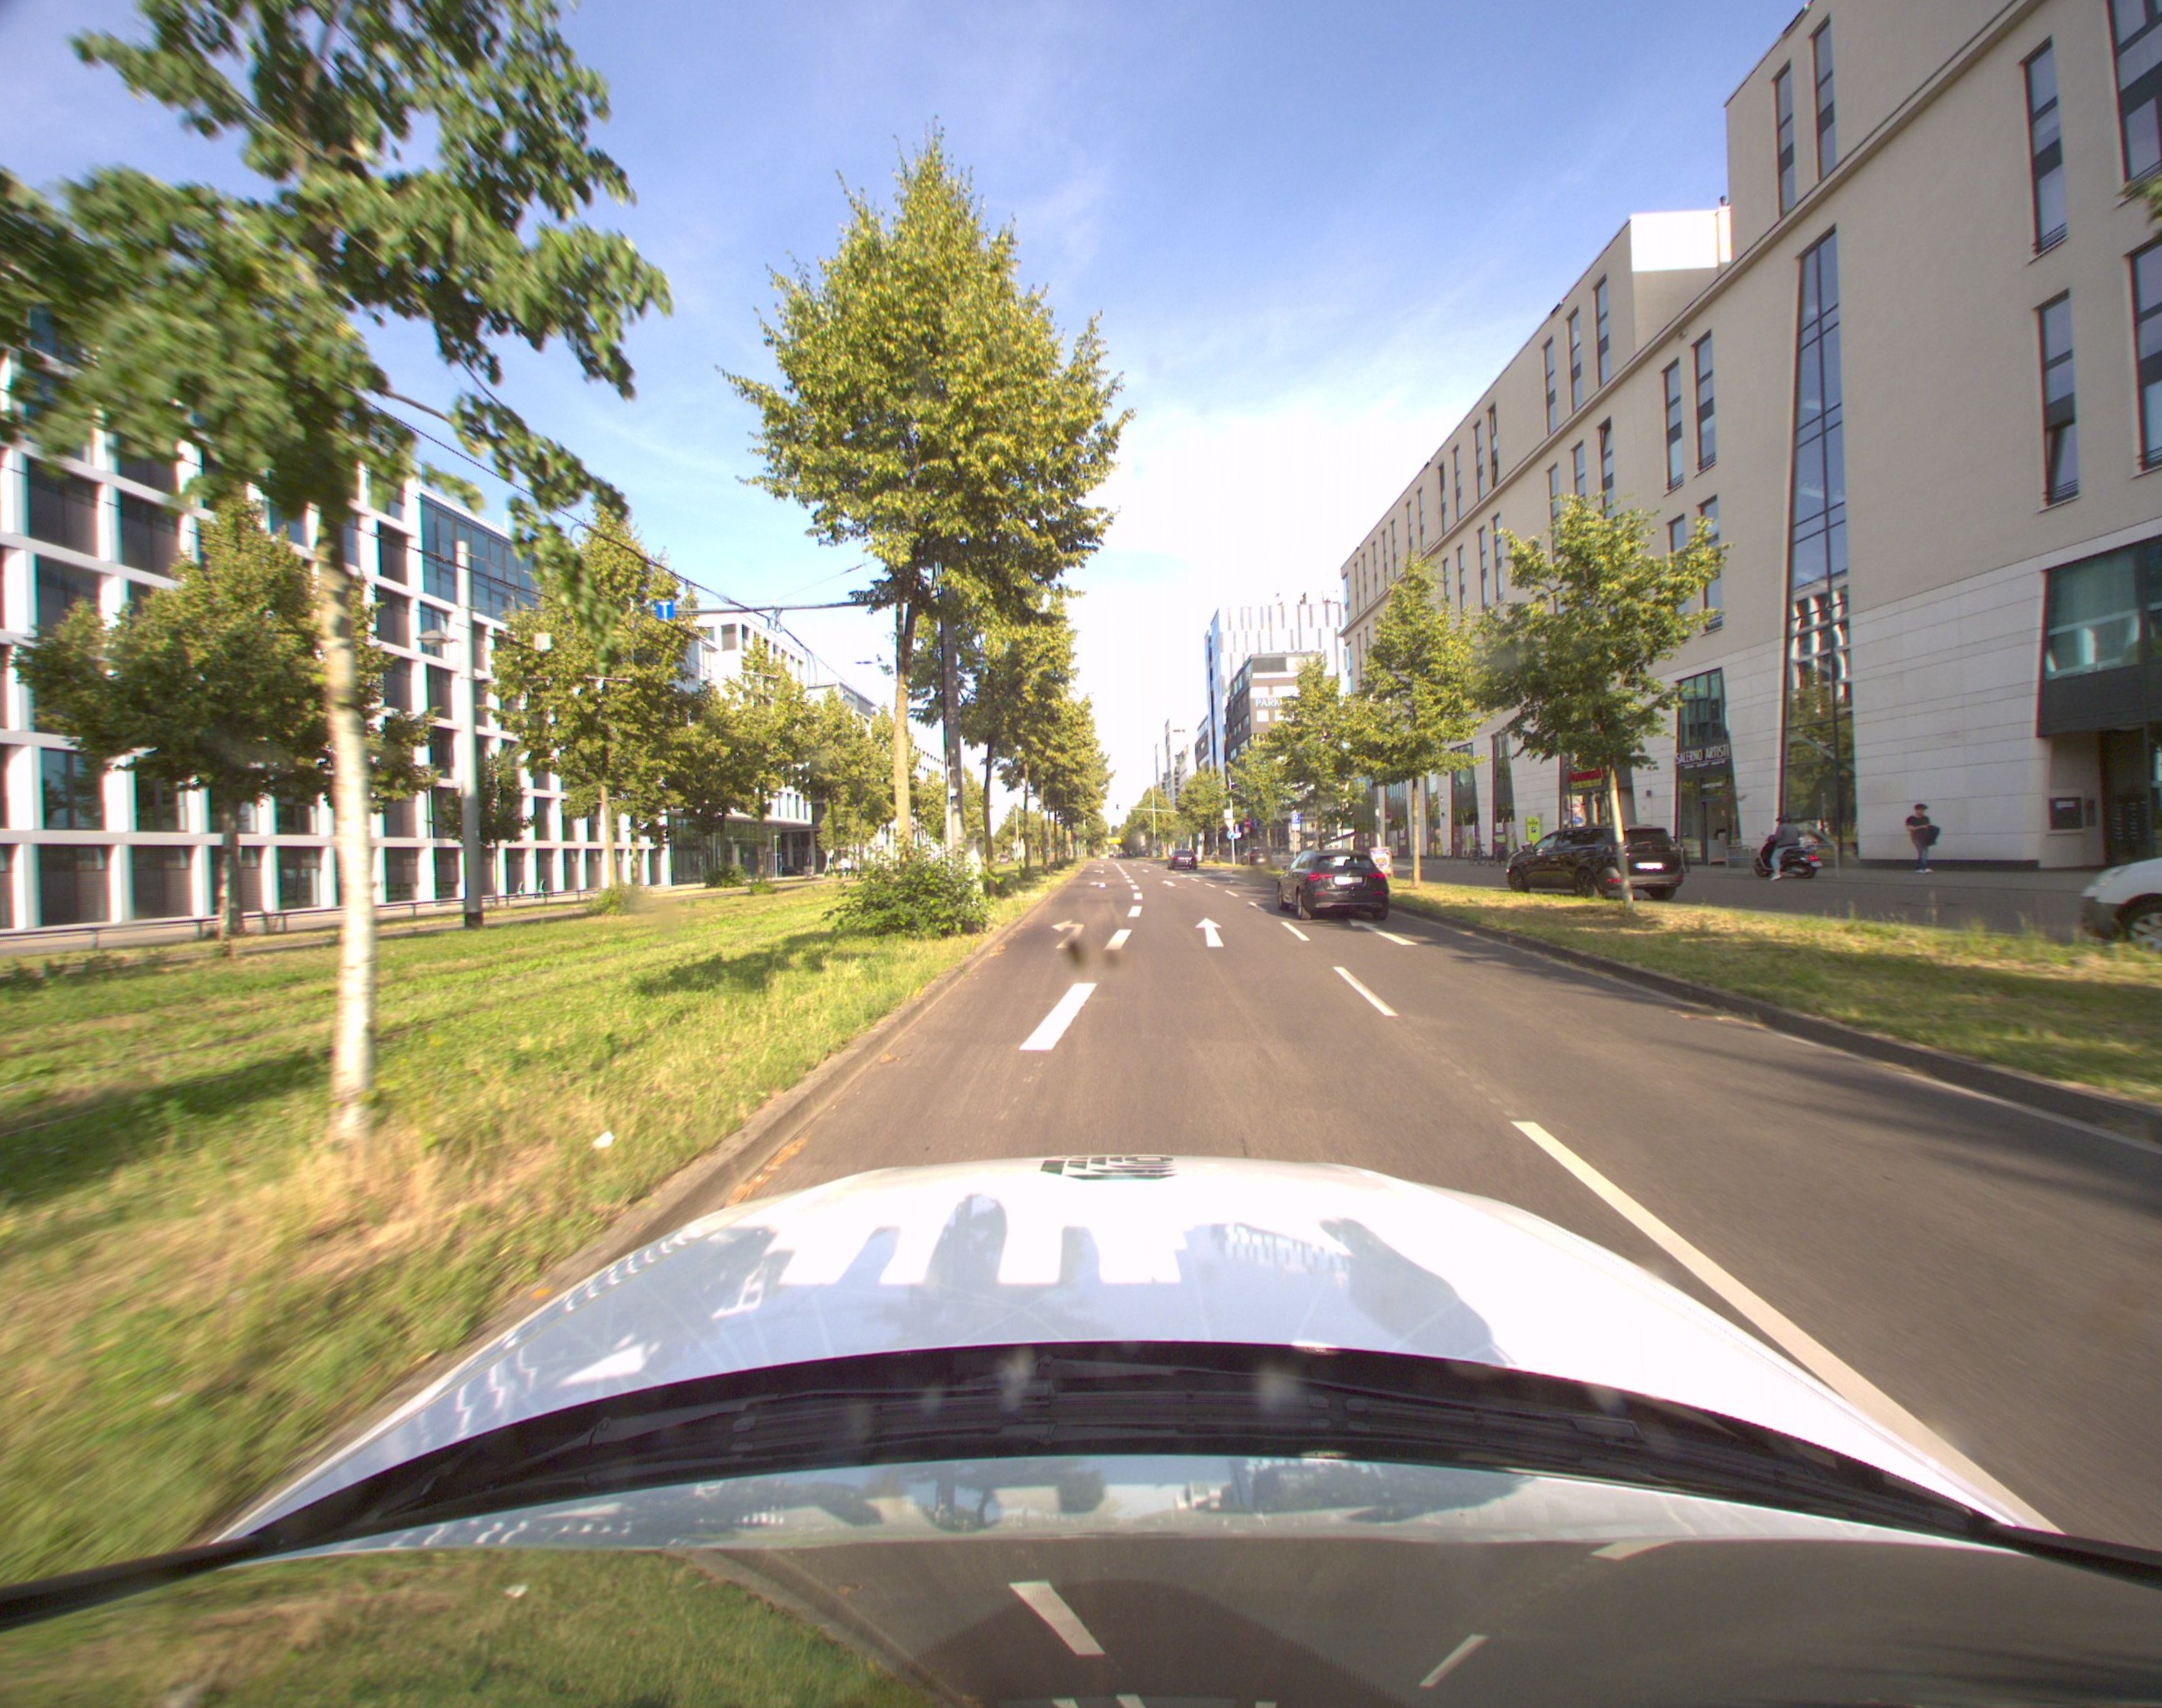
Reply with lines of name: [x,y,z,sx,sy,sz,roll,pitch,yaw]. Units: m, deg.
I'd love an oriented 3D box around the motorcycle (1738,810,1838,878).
motorcycle: [18.449,-0.241,21.321,0.699,1.617,2.011,-6,-1,-1]

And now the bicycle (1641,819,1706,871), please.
bicycle: [19.210,-0.269,26.475,0.553,1.619,2.214,-1,-1,2]

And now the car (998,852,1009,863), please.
car: [-12.869,0.565,135.546,1.680,1.775,3.879,0,0,-2]

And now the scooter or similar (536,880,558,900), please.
scooter or similar: [-34.825,2.354,53.108,0.333,1.226,1.304,-1,-1,15]

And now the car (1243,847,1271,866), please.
car: [13.059,0.198,60.665,1.598,1.370,4.165,-1,0,6]

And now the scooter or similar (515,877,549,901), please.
scooter or similar: [-34.511,2.175,51.214,1.919,1.477,0.415,-1,-1,5]

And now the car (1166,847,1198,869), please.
car: [7.060,0.283,57.271,1.853,1.524,3.787,-1,0,2]

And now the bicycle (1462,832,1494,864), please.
bicycle: [19.659,-0.275,40.387,0.553,1.571,2.277,-1,-1,2]

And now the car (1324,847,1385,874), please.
car: [13.180,0.315,39.435,1.702,1.242,3.906,-1,0,1]

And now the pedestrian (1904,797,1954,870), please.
pedestrian: [21.014,-0.503,20.195,0.535,1.763,0.646,-1,-1,1]

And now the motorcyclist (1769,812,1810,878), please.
motorcyclist: [18.447,-0.234,21.209,0.622,1.640,0.417,-4,0,-2]

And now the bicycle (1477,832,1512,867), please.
bicycle: [19.137,-0.193,37.723,0.553,1.567,2.214,-1,-1,2]

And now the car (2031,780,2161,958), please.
car: [11.281,0.131,6.727,1.822,1.711,4.294,0,0,-1]

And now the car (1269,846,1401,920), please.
car: [5.400,0.583,17.826,1.767,1.424,3.963,-1,0,2]

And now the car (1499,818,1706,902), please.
car: [11.807,0.095,18.897,1.890,1.708,4.678,0,1,1]

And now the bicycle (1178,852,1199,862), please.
bicycle: [11.545,0.299,87.311,2.129,1.013,0.571,0,-1,-3]
